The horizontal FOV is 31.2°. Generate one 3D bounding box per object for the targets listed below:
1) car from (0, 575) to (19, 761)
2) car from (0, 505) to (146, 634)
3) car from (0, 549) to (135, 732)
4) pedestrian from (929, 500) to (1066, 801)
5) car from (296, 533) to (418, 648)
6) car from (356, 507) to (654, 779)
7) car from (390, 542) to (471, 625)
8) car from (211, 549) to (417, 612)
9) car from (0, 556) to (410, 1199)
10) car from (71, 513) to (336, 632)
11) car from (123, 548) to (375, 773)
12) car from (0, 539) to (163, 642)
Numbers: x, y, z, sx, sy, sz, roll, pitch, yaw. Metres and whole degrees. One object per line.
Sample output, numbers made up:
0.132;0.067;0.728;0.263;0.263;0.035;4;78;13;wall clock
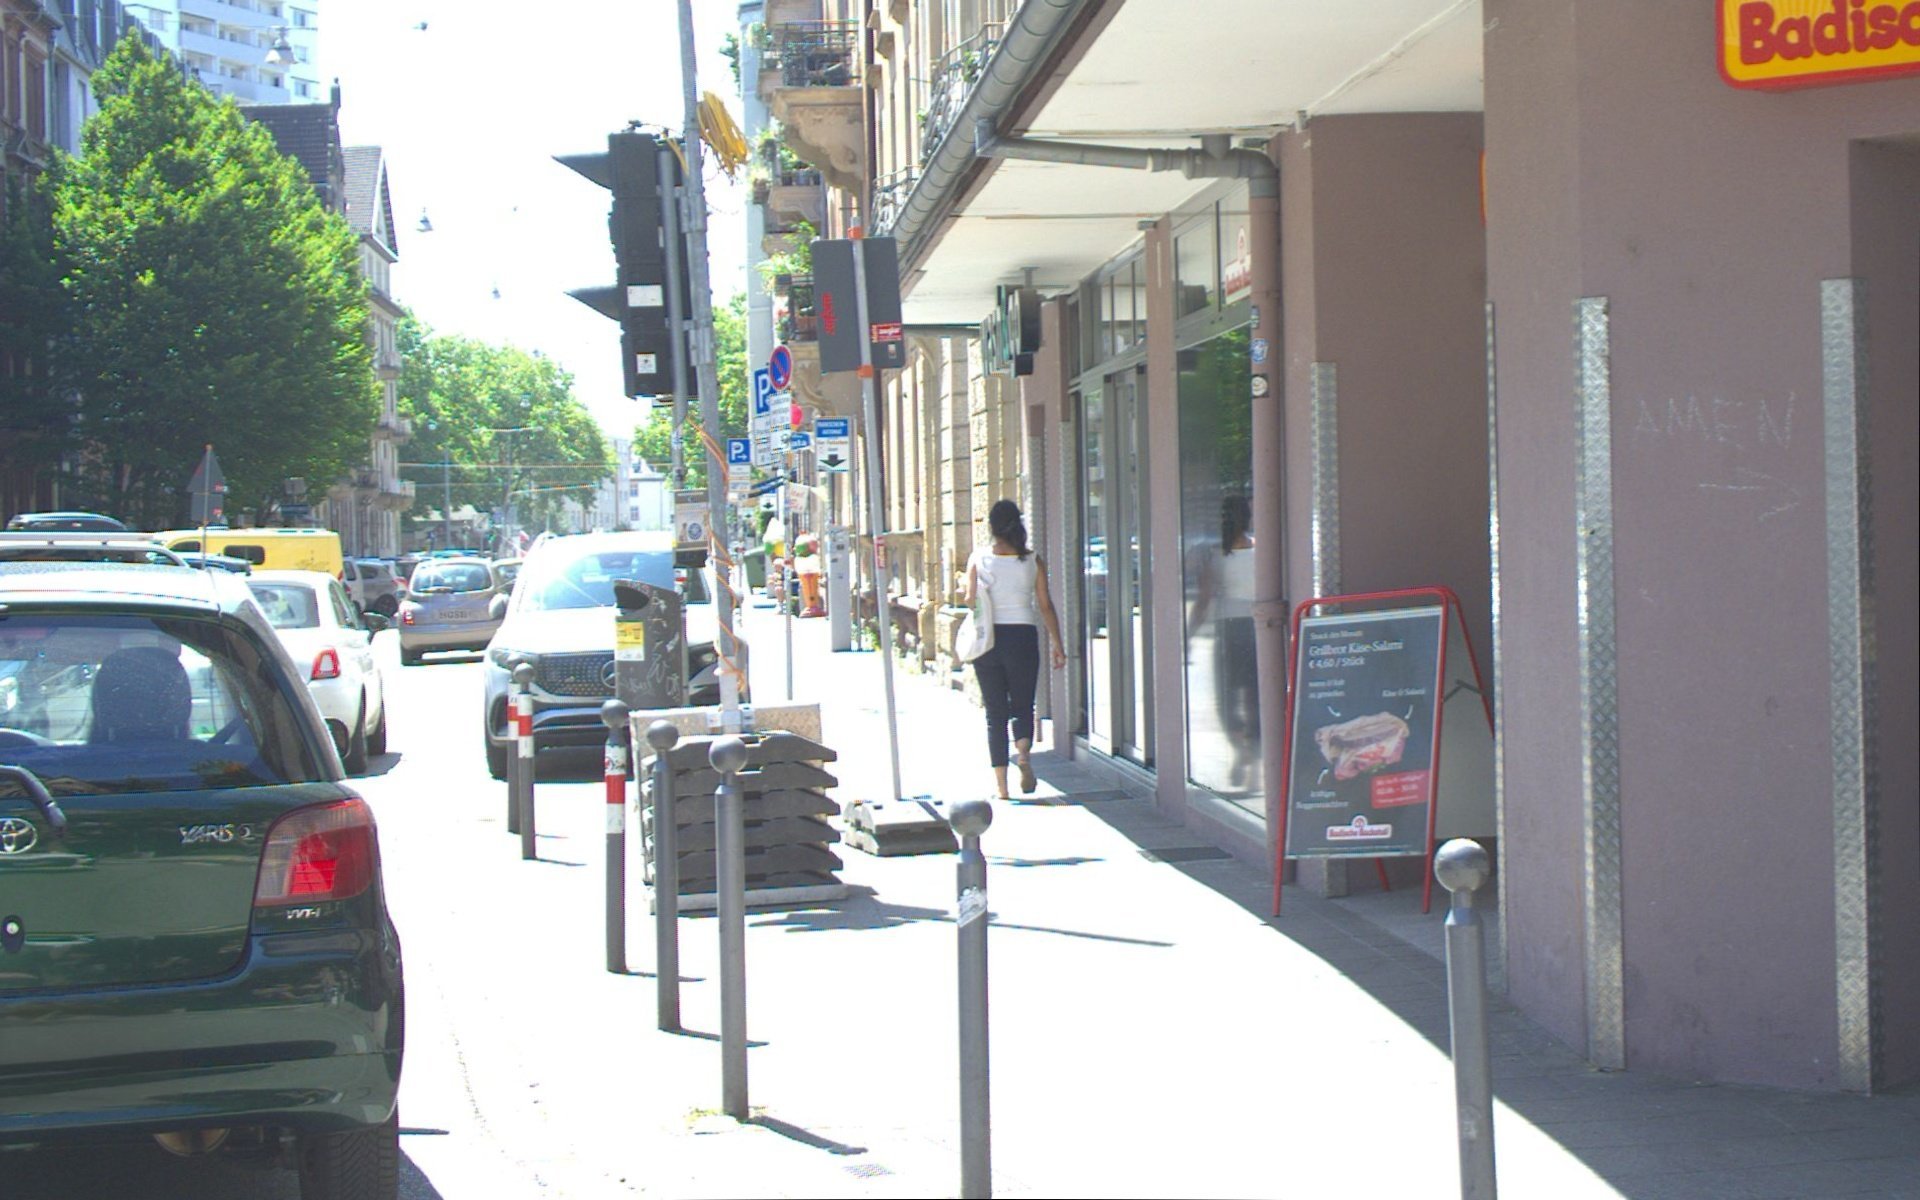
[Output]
-8.222;0.580;25.385;1.754;1.439;4.001;-2;1;-5;car
-15.603;-0.467;54.529;4.774;1.987;2.053;-2;1;-34;car
-9.416;0.384;33.952;1.754;1.639;4.378;-4;1;-5;car
0.199;0.263;18.993;0.641;1.618;0.804;-1;1;-5;pedestrian
-8.863;-0.165;50.727;1.522;1.587;3.264;-1;2;-6;car
-3.212;0.243;24.960;1.871;1.707;4.505;-3;1;-5;car
-10.852;-0.359;70.584;1.522;1.587;3.265;-1;2;-7;car
-15.913;-0.500;84.760;4.558;1.429;2.000;-2;1;-32;car
-2.485;0.648;8.274;1.613;1.480;3.242;-1;1;-22;car
-14.618;-0.548;66.500;4.558;2.180;2.000;-2;1;-32;car
-5.287;0.401;25.870;1.522;1.516;3.264;-1;2;-6;car
-16.007;-0.163;59.498;3.910;1.702;1.866;-2;1;-29;car
